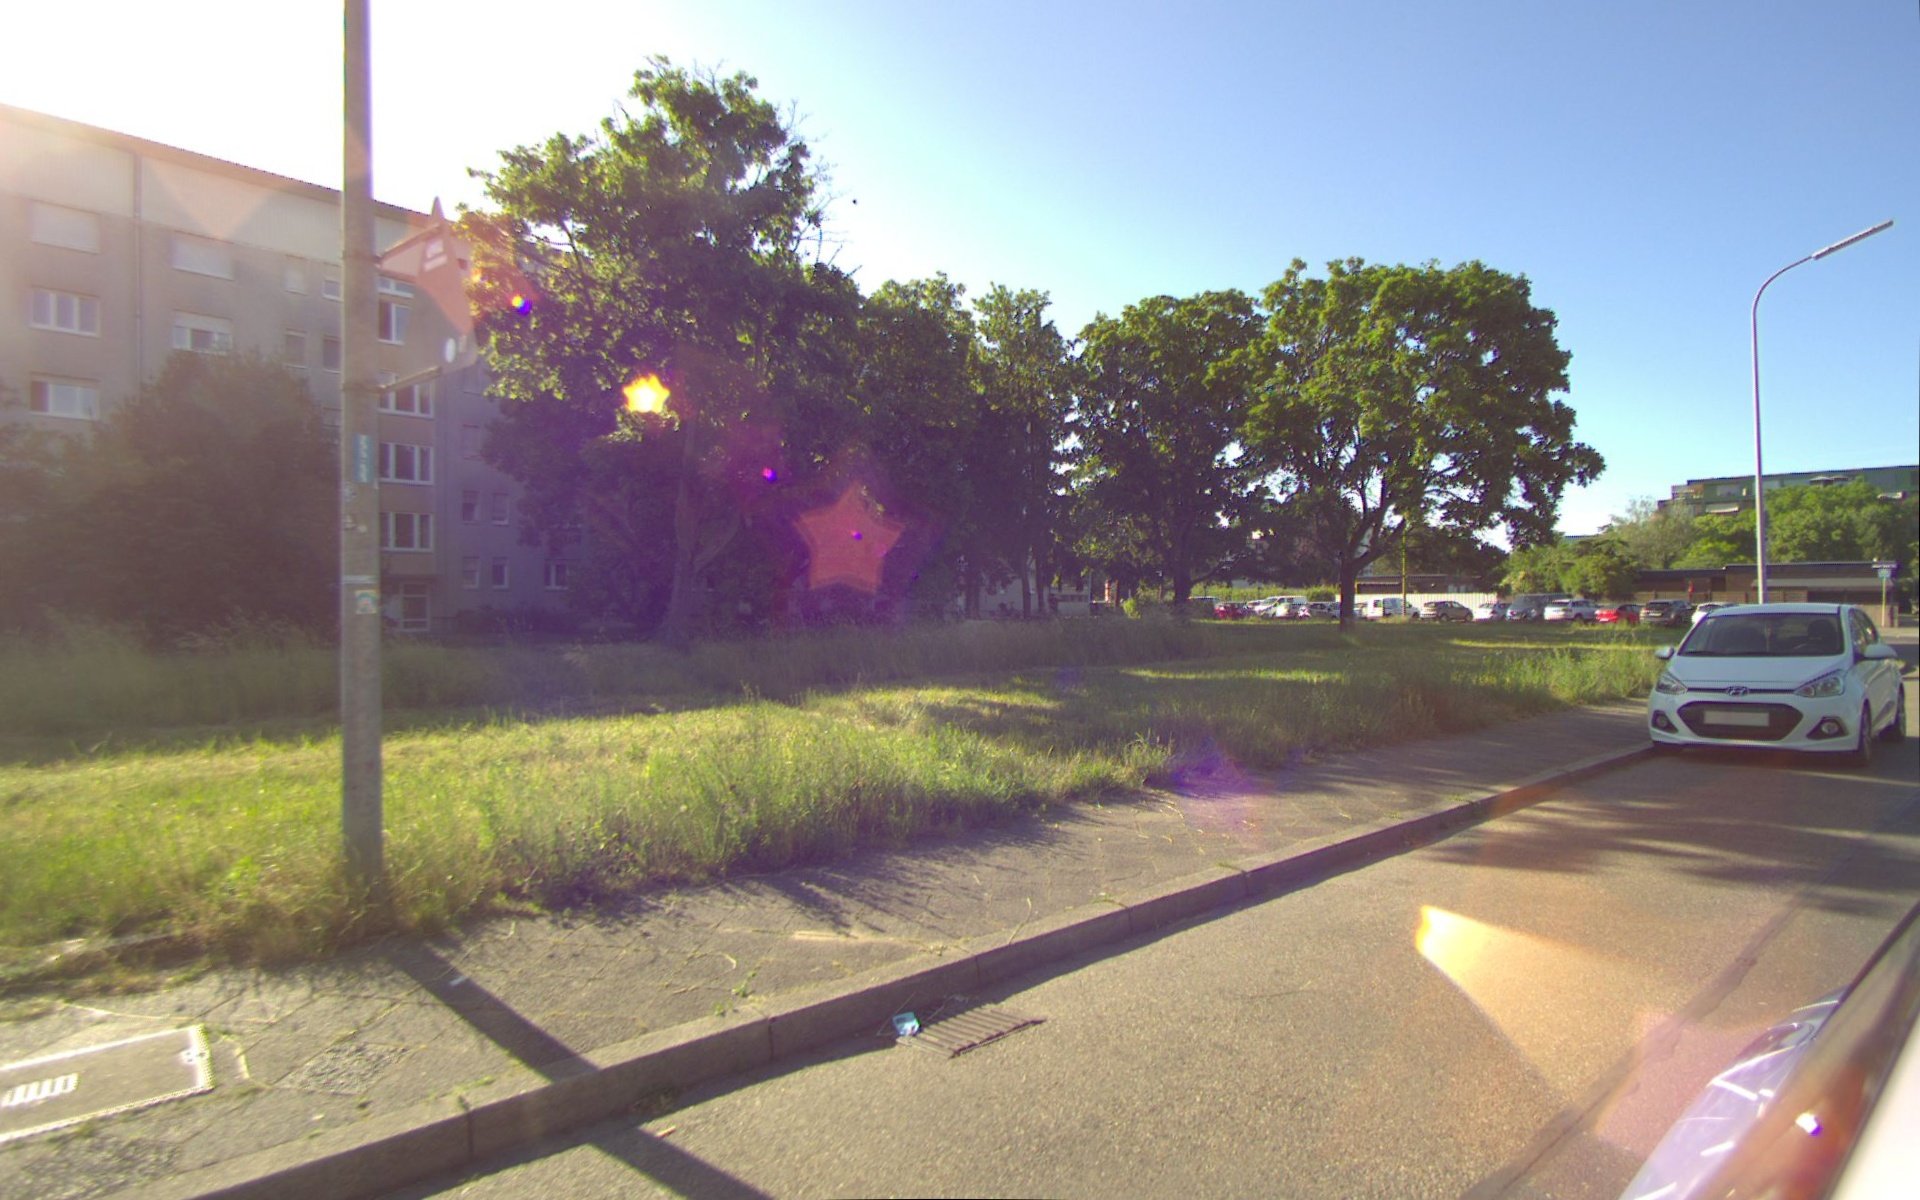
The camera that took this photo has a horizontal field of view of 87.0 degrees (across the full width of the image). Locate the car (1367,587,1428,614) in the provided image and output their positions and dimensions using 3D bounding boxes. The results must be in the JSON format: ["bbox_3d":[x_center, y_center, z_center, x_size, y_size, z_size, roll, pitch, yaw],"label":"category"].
[{"bbox_3d":[32.312,0.031,74.732,3.908,1.803,1.929,-3,0,-24],"label":"car"}]

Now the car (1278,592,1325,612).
[{"bbox_3d":[28.298,0.153,83.873,3.453,1.464,1.639,-3,1,-25],"label":"car"}]

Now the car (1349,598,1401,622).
[{"bbox_3d":[31.559,0.726,76.935,3.453,1.506,1.732,-4,4,-22],"label":"car"}]

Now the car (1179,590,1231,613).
[{"bbox_3d":[23.555,0.110,97.334,4.400,2.001,2.004,-3,1,-17],"label":"car"}]

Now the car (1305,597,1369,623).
[{"bbox_3d":[24.419,0.621,65.652,1.701,1.562,3.796,-1,1,-22],"label":"car"}]

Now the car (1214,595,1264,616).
[{"bbox_3d":[20.661,0.420,75.154,1.547,1.464,3.796,-1,1,-22],"label":"car"}]

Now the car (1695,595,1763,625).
[{"bbox_3d":[41.495,0.507,54.595,3.625,1.477,1.636,-1,0,-30],"label":"car"}]

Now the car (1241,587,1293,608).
[{"bbox_3d":[27.047,-0.236,89.107,3.916,1.602,1.888,-3,1,-17],"label":"car"}]

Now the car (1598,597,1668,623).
[{"bbox_3d":[39.446,0.562,59.289,3.549,1.361,1.736,-3,1,-23],"label":"car"}]

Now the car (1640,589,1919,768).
[{"bbox_3d":[8.603,0.684,10.507,3.678,1.498,1.723,-1,-1,-43],"label":"car"}]

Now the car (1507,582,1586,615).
[{"bbox_3d":[36.858,-0.135,63.582,4.788,1.939,2.003,-1,1,-27],"label":"car"}]

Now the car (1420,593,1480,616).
[{"bbox_3d":[34.169,0.305,70.590,3.748,1.551,1.792,-1,1,-26],"label":"car"}]

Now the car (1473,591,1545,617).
[{"bbox_3d":[35.816,0.257,66.004,4.065,1.511,1.929,-2,1,-22],"label":"car"}]

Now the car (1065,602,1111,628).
[{"bbox_3d":[8.647,0.994,68.665,1.697,1.616,3.820,-1,0,-16],"label":"car"}]

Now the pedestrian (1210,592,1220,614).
[{"bbox_3d":[18.335,0.232,72.806,0.473,1.584,0.598,1,0,-10],"label":"pedestrian"}]

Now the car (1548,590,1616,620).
[{"bbox_3d":[37.551,0.286,61.109,3.549,1.627,1.736,-3,1,-23],"label":"car"}]

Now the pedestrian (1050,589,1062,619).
[{"bbox_3d":[5.626,0.226,59.223,0.481,1.683,0.537,-2,1,-10],"label":"pedestrian"}]

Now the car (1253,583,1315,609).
[{"bbox_3d":[27.691,-0.347,86.534,4.705,1.944,2.086,-3,1,-22],"label":"car"}]

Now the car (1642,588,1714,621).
[{"bbox_3d":[40.246,0.217,56.680,3.921,1.632,1.820,-3,1,-30],"label":"car"}]
